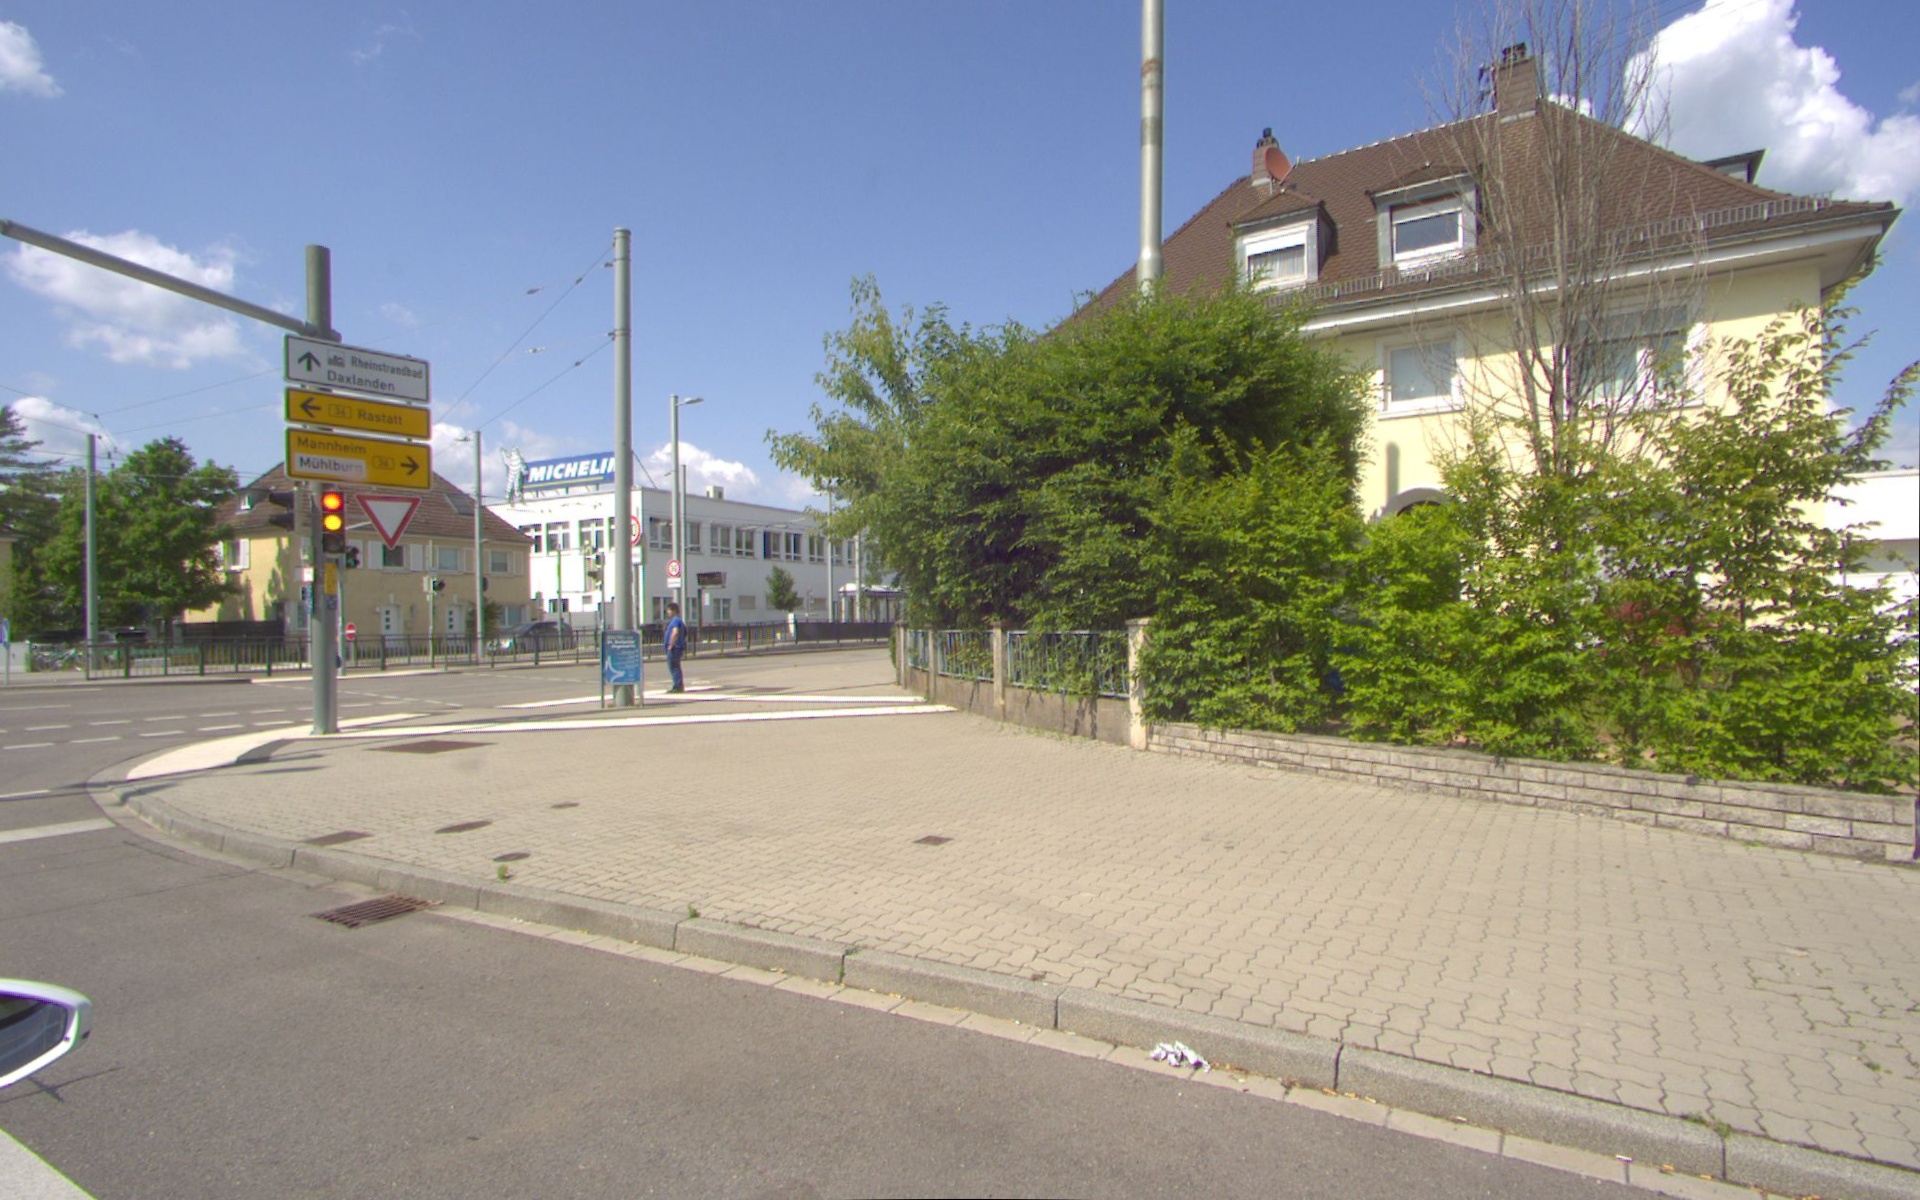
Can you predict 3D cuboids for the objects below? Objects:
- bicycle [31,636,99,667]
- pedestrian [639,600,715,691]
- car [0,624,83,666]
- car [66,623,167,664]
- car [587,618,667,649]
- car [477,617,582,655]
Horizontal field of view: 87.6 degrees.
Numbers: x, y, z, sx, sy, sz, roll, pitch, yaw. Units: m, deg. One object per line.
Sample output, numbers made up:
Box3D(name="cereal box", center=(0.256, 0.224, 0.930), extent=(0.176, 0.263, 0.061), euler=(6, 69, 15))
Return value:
Box3D(name="bicycle", center=(-34.136, 1.942, 38.217), extent=(1.777, 1.119, 0.701), euler=(-1, -1, -19))
Box3D(name="pedestrian", center=(-5.652, 0.897, 20.016), extent=(1.025, 1.757, 1.028), euler=(-1, 0, 29))
Box3D(name="car", center=(-39.406, 1.918, 42.461), extent=(3.934, 1.641, 1.823), euler=(-3, -1, 23))
Box3D(name="car", center=(-37.612, 1.946, 44.648), extent=(3.934, 1.641, 1.823), euler=(-3, -1, 23))
Box3D(name="car", center=(-16.504, 1.660, 49.797), extent=(1.553, 1.465, 3.705), euler=(-1, -1, 30))
Box3D(name="car", center=(-19.001, 1.561, 44.340), extent=(1.815, 1.589, 3.981), euler=(-1, -1, 30))
